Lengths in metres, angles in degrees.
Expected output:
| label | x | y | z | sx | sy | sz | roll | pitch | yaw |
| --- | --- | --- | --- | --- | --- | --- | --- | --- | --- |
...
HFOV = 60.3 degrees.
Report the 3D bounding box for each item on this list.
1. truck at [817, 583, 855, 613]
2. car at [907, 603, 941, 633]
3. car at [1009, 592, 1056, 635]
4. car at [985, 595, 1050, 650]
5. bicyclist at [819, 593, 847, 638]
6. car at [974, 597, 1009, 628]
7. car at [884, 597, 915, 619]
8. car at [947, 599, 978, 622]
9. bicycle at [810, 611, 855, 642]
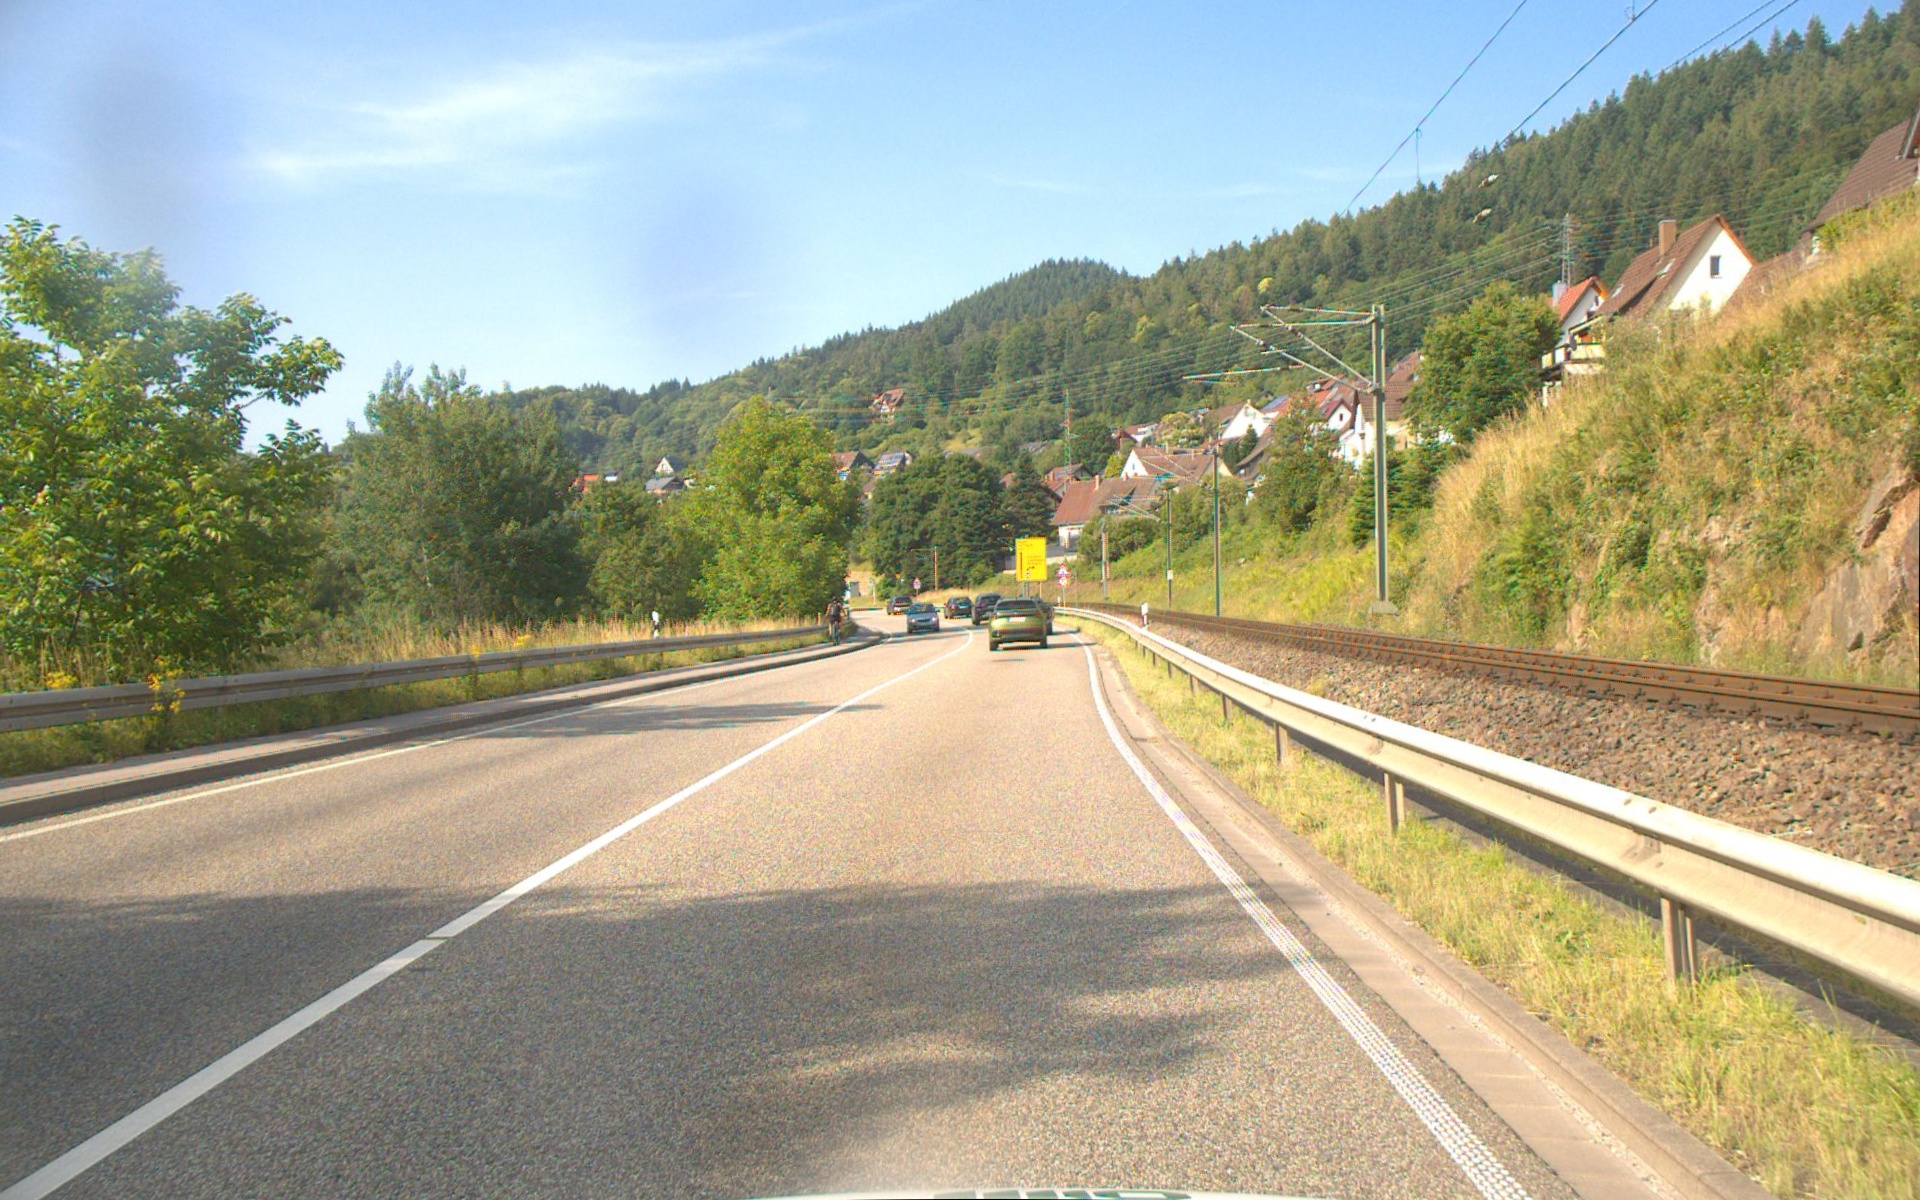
| label | x | y | z | sx | sy | sz | roll | pitch | yaw |
| --- | --- | --- | --- | --- | --- | --- | --- | --- | --- |
| truck | -13.453 | -0.250 | 178.906 | 2.670 | 3.138 | 6.076 | 0 | 0 | -19 |
| car | -1.859 | 0.911 | 86.229 | 1.545 | 1.505 | 4.001 | 1 | 0 | 2 |
| car | 2.759 | 0.484 | 63.314 | 1.633 | 1.586 | 4.000 | 0 | 0 | 0 |
| car | 1.666 | 0.635 | 49.068 | 1.680 | 1.480 | 3.999 | -3 | 0 | -1 |
| bicyclist | -4.653 | 0.563 | 60.575 | 0.547 | 1.614 | 1.034 | 0 | 1 | 28 |
| car | 1.756 | 0.691 | 92.337 | 1.841 | 1.716 | 4.000 | 0 | 0 | 0 |
| car | -5.397 | 0.680 | 147.109 | 2.028 | 1.843 | 3.987 | -1 | 0 | -13 |
| car | 0.180 | 0.705 | 114.292 | 1.813 | 1.553 | 3.659 | -1 | 0 | -5 |
| bicycle | -4.657 | 0.969 | 60.601 | 0.547 | 1.064 | 2.226 | 0 | 1 | 28 |
